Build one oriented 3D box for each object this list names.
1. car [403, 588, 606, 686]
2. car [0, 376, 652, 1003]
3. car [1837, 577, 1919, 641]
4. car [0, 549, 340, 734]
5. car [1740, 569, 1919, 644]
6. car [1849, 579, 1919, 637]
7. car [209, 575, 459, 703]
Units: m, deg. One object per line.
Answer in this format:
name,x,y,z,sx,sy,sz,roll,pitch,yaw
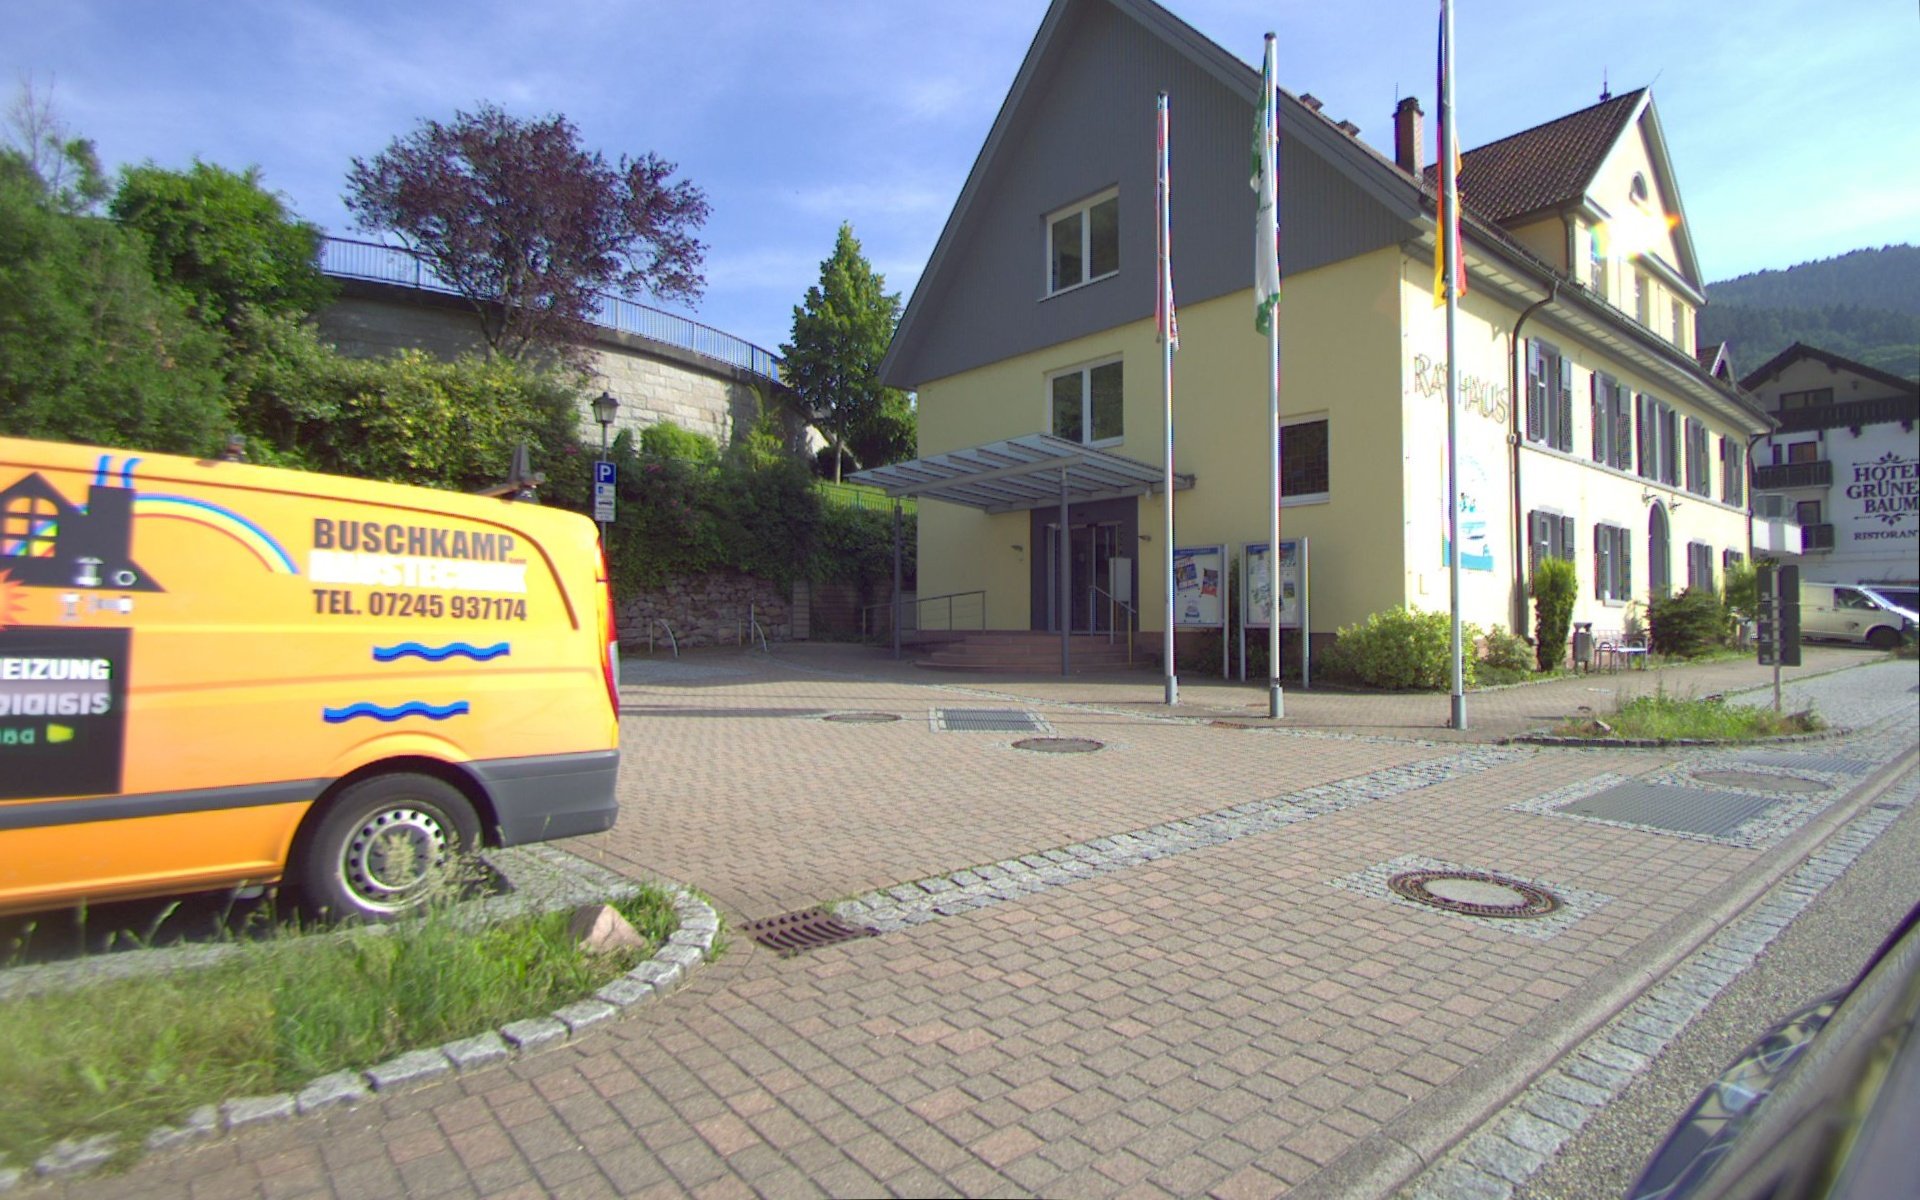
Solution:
car,-7.276,0.489,15.976,1.728,1.305,3.886,-1,2,-44
car,-3.850,0.283,3.881,4.749,2.023,1.912,0,0,-40
car,30.559,0.324,32.197,1.346,1.916,3.758,0,3,-38
car,-8.494,0.354,9.739,4.080,1.599,1.756,3,-1,-38
car,27.484,0.149,31.720,1.682,1.982,4.457,1,4,-38
car,32.552,0.284,33.816,1.654,1.905,3.999,0,2,-37
car,-8.488,0.405,13.601,3.879,1.469,1.795,1,2,41
